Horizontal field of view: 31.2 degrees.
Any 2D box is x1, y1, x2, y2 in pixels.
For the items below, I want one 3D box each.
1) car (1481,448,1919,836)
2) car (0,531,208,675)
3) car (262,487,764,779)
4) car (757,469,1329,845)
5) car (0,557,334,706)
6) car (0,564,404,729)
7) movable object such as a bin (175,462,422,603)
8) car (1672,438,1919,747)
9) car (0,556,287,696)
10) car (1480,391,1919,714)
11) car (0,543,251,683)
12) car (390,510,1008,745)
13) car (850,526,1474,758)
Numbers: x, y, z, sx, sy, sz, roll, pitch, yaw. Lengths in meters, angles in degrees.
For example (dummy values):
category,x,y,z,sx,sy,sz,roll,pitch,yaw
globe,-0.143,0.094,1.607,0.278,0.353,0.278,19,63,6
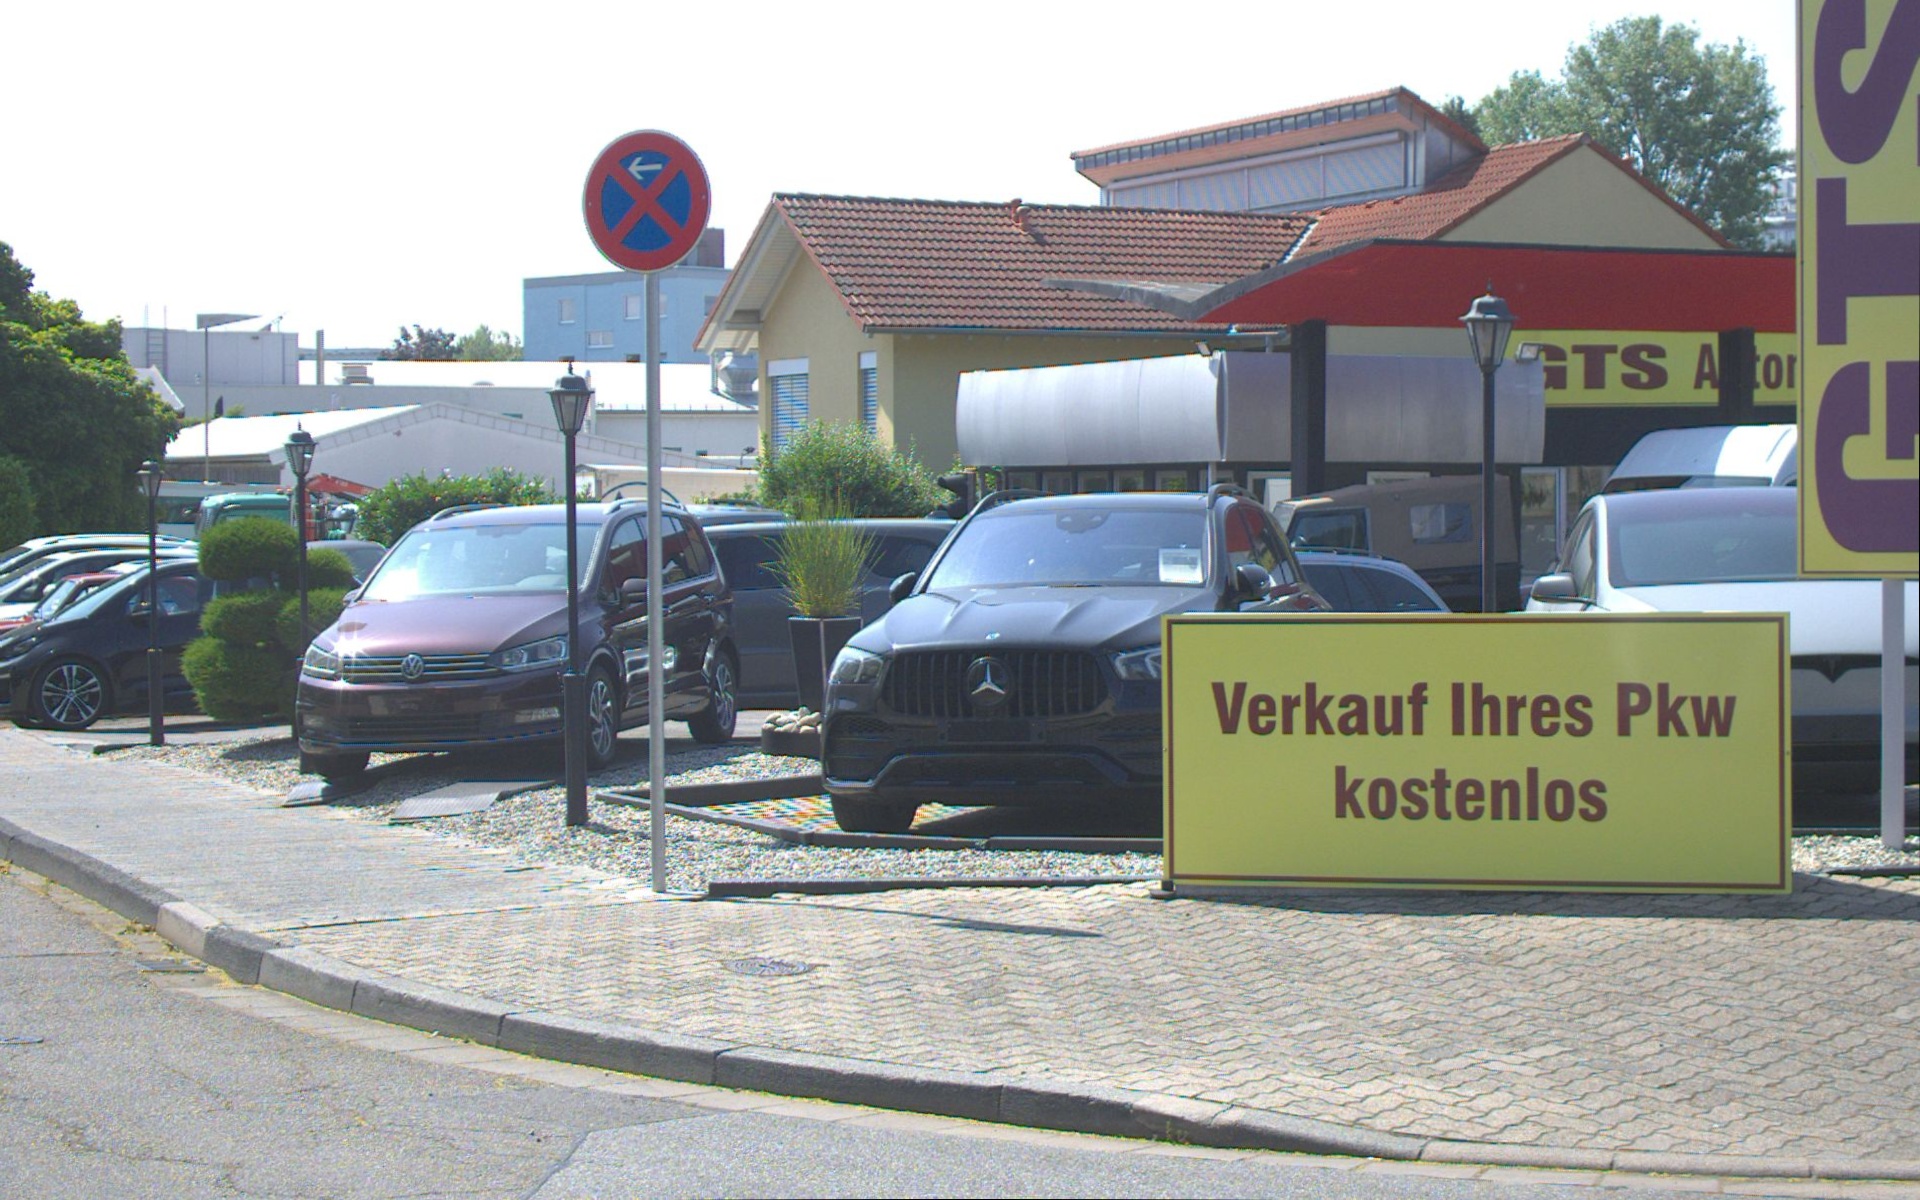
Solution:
category,x,y,z,sx,sy,sz,roll,pitch,yaw
car,3.927,0.246,17.632,1.975,1.701,4.663,-1,-2,3
car,-11.742,0.022,43.150,4.157,1.744,1.892,-1,1,-26
car,-2.702,0.159,21.853,1.805,1.650,4.313,-1,1,12
car,0.585,0.275,17.934,2.044,1.701,4.312,0,0,15
car,-8.839,0.304,36.268,4.045,1.484,1.799,-1,1,-26
car,-7.667,0.412,33.346,4.119,1.484,1.870,-1,1,-26
movable object such as a bin,-13.934,-1.435,72.430,4.816,2.897,2.001,-1,1,-21
car,8.123,-0.059,28.525,2.251,2.342,4.812,0,0,41
car,-9.793,0.270,38.428,4.105,1.484,1.870,-1,1,-26
car,7.633,-0.429,32.310,2.282,2.748,6.137,0,1,44
car,-10.693,0.130,40.829,4.111,1.597,1.870,-1,1,-26
car,-2.072,0.196,28.271,4.876,1.836,2.163,0,1,0
car,1.599,0.245,26.055,4.673,1.569,1.914,-2,2,-40
